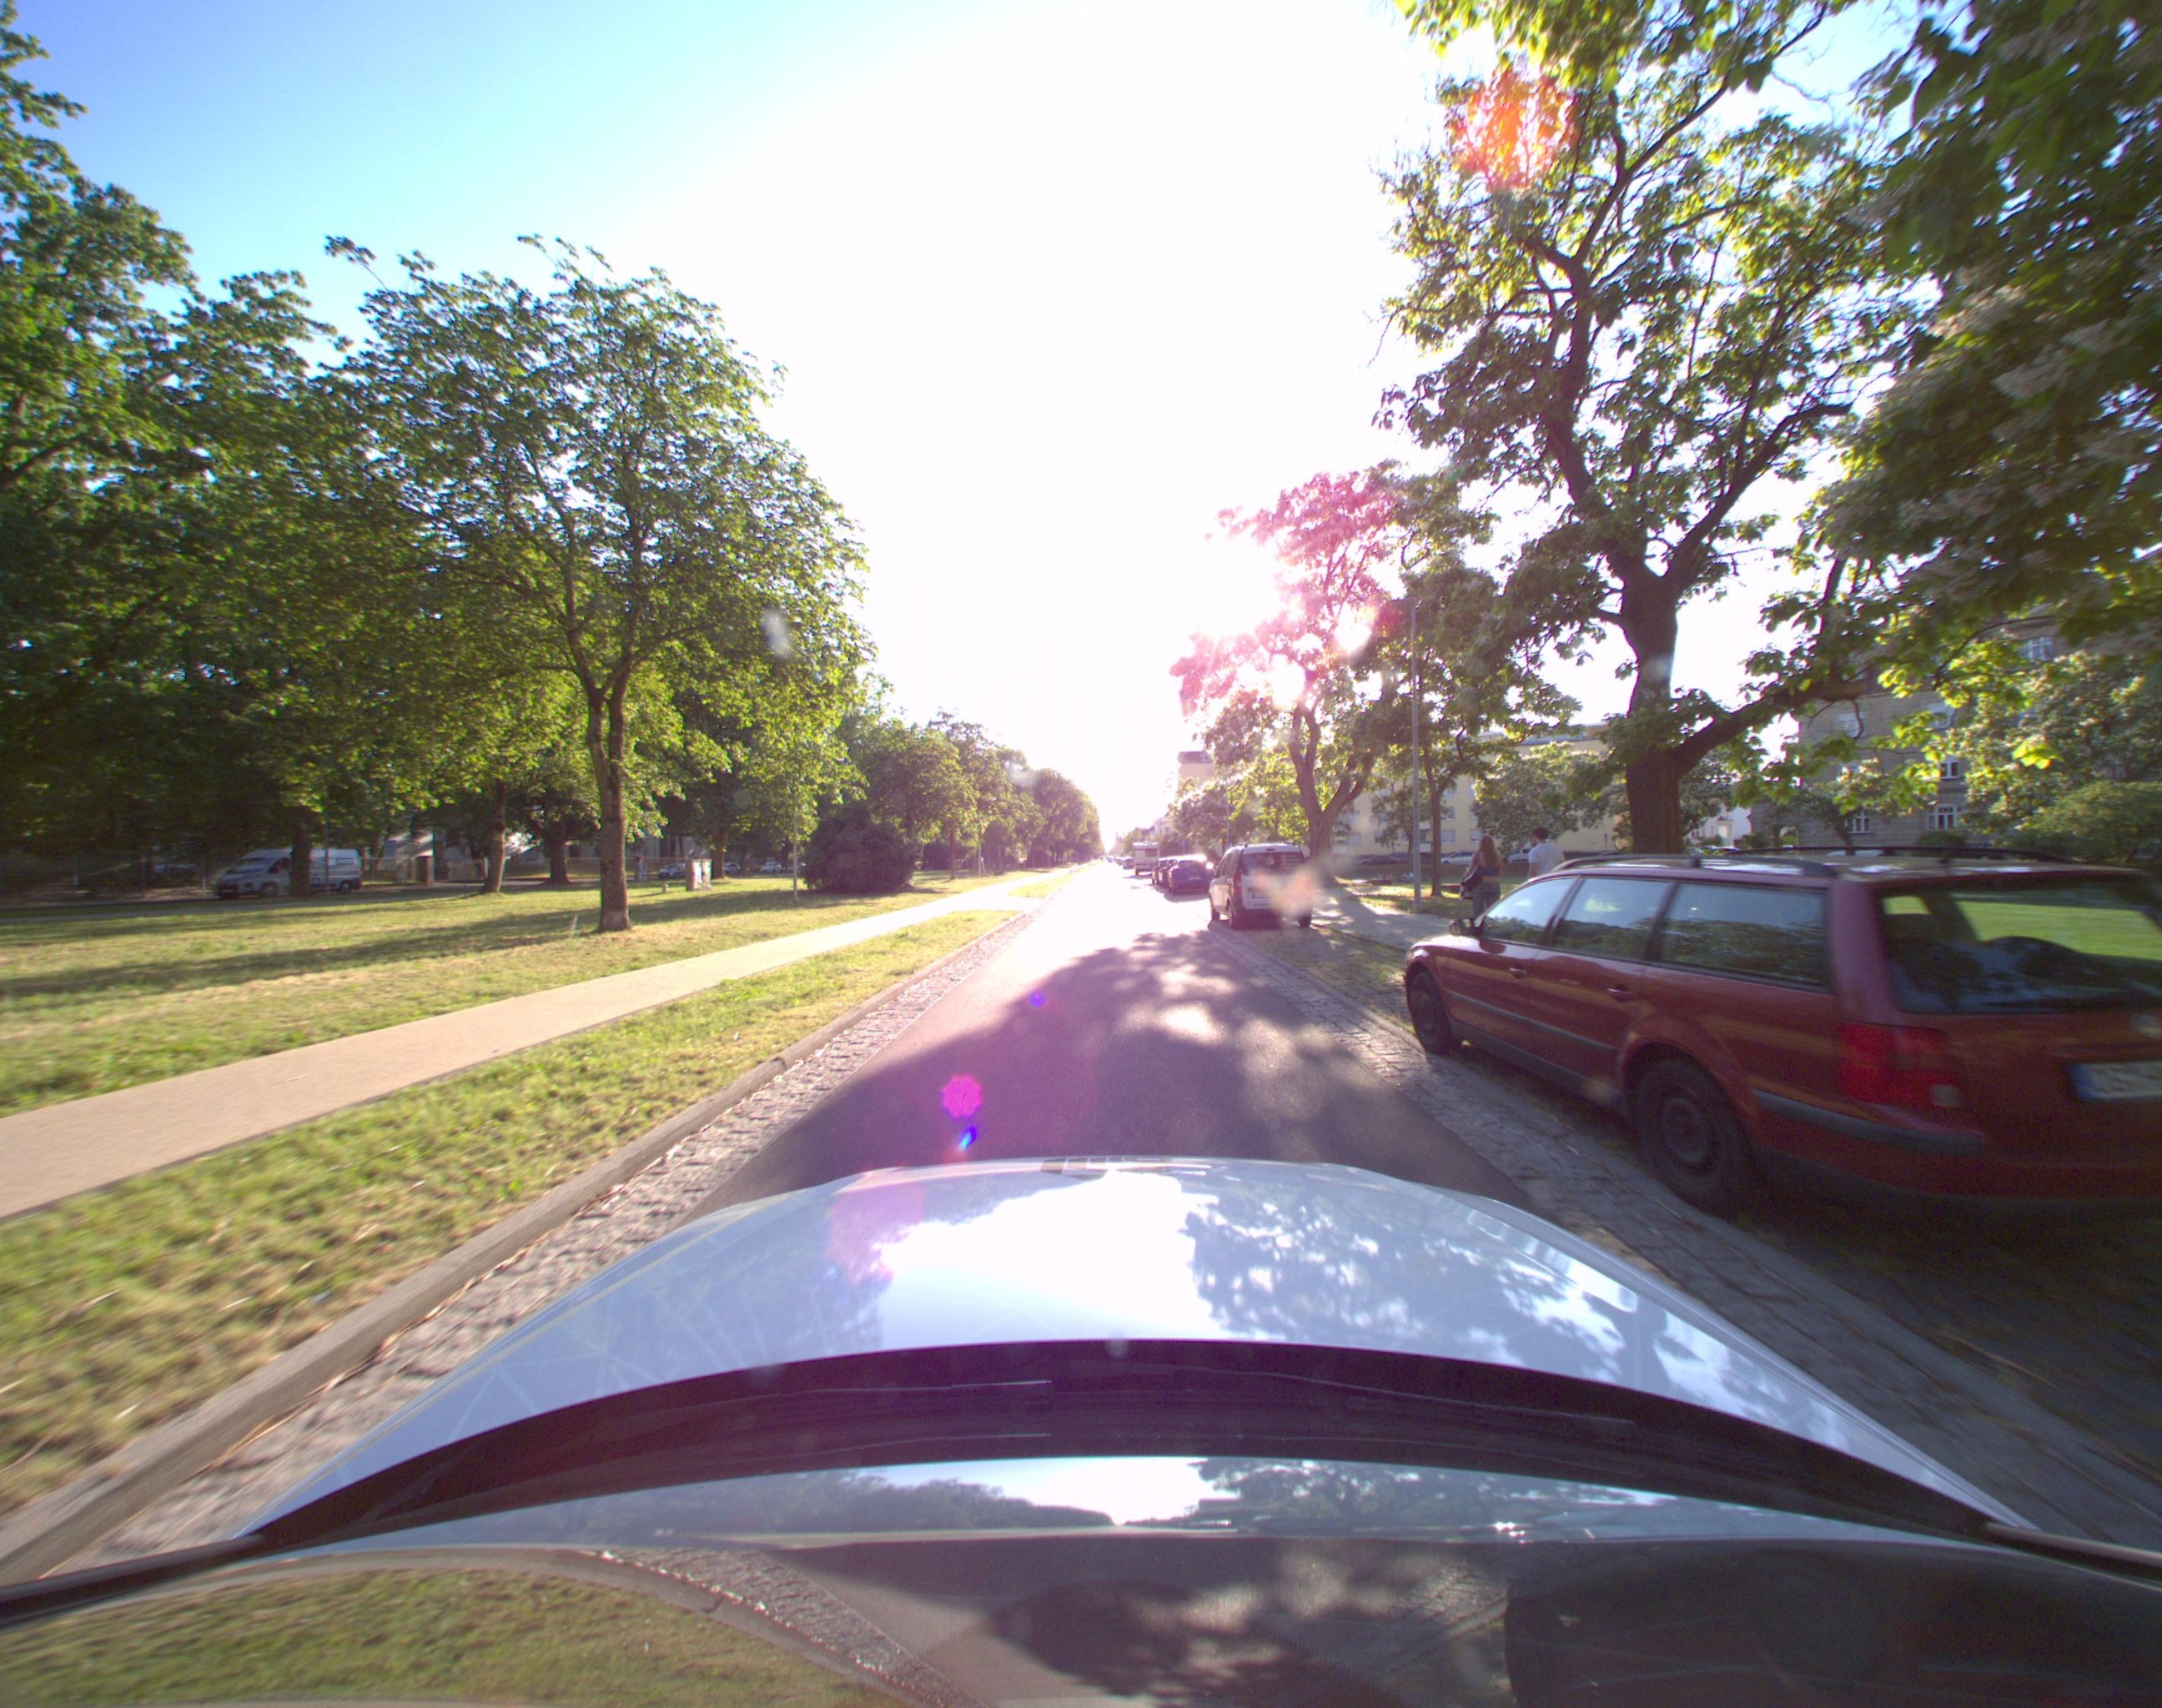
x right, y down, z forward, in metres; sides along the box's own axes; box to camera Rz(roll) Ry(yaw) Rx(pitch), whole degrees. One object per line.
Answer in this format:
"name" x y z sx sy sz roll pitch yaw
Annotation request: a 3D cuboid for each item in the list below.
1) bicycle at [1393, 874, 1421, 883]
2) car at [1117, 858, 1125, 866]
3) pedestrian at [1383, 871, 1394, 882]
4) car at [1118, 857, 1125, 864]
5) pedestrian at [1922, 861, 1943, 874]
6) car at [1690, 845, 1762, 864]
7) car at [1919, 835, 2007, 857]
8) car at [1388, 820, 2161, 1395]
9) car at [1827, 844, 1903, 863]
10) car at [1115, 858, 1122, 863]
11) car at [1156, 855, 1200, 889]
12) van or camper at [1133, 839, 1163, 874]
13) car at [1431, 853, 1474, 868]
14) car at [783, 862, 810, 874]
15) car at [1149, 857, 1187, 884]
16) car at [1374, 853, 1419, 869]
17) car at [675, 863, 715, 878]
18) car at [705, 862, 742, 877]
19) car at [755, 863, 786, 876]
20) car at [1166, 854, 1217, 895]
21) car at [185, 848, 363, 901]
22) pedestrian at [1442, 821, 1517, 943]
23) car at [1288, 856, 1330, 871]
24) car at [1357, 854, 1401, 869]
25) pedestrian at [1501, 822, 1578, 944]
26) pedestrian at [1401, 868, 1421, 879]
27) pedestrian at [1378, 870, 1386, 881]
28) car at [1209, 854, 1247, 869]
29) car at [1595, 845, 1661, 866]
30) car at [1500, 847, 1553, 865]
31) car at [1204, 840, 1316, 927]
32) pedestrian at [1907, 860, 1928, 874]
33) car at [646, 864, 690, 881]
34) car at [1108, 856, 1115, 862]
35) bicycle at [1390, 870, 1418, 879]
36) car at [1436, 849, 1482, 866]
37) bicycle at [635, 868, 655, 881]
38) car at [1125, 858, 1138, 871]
"bicycle" 23.697 1.780 59.170 1.749 0.615 1.823 -1 -1 26
"car" 8.191 1.644 166.723 1.620 1.410 4.250 -1 -1 2
"pedestrian" 24.168 1.768 63.962 0.608 0.812 0.724 0 0 3
"car" 8.837 1.475 177.983 1.620 1.410 4.250 -1 -1 2
"pedestrian" 51.700 0.810 49.455 0.585 0.794 0.665 -1 -1 -9
"car" 53.249 0.077 67.289 1.889 1.453 4.319 -1 -1 -36
"car" 65.066 -0.584 60.142 1.883 1.453 3.968 -1 -1 -24
"car" 3.399 0.676 4.524 1.672 1.486 4.811 -1 -1 2
"car" 62.366 -0.016 64.859 1.886 1.453 3.962 -1 -1 -29
"car" 9.865 1.711 214.248 1.620 1.410 4.250 -1 -1 2
"car" 4.753 0.862 40.458 1.726 1.551 4.422 -1 -1 1
"van or camper" 5.877 0.308 71.806 2.226 2.904 5.674 -1 -2 1
"car" 39.237 0.709 86.067 3.949 1.453 1.892 -2 -1 30
"car" -38.069 1.837 109.065 1.985 1.508 4.118 -1 -1 3
"car" 4.965 0.925 47.041 1.622 1.464 4.246 -1 -1 -1
"car" 34.367 0.759 88.845 4.473 1.569 1.890 -2 -1 20
"car" -39.372 1.686 83.126 1.985 1.508 4.002 -1 -1 3
"car" -38.829 1.698 88.545 1.985 1.508 4.118 -1 -1 3
"car" -38.373 1.878 100.766 1.985 1.508 4.118 -1 -1 3
"car" 4.570 0.840 34.206 1.724 1.551 4.278 -1 -1 3
"car" -40.787 1.007 41.524 2.711 2.463 6.318 -1 -1 1
"pedestrian" 5.829 0.400 11.944 0.750 1.736 0.732 0 0 2
"car" 24.026 0.977 85.740 4.162 1.463 1.700 -2 -1 17
"car" 30.632 0.787 83.680 4.158 1.357 1.702 -2 -1 22
"pedestrian" 6.698 0.414 11.923 0.722 1.736 0.732 0 0 2
"pedestrian" 25.061 1.458 61.849 0.577 0.812 1.244 0 -1 -43
"pedestrian" 23.297 1.651 63.018 0.470 0.812 0.612 0 0 3
"car" 16.804 0.884 93.379 4.174 1.530 2.003 -1 -1 6
"car" 48.348 0.160 72.017 1.891 1.746 4.470 0 -1 -45
"car" 45.155 0.210 82.645 4.467 1.746 1.892 -2 -1 37
"car" 3.965 0.628 18.791 1.672 1.740 4.515 -1 -1 2
"pedestrian" 51.591 0.803 50.229 0.585 0.794 0.665 -1 -1 -9
"car" -39.690 1.744 78.371 1.985 1.508 4.002 -1 -1 3
"car" 8.643 1.532 230.319 1.819 1.669 4.250 -1 -1 2
"bicycle" 23.898 1.548 60.282 1.749 0.615 1.823 -1 -1 26
"car" 37.285 0.369 80.283 3.949 1.552 1.620 -2 -1 29
"bicycle" -41.132 1.918 76.810 0.655 1.175 2.332 -1 -1 -1
"car" 7.009 1.489 113.044 1.620 1.669 4.250 -1 -1 2
